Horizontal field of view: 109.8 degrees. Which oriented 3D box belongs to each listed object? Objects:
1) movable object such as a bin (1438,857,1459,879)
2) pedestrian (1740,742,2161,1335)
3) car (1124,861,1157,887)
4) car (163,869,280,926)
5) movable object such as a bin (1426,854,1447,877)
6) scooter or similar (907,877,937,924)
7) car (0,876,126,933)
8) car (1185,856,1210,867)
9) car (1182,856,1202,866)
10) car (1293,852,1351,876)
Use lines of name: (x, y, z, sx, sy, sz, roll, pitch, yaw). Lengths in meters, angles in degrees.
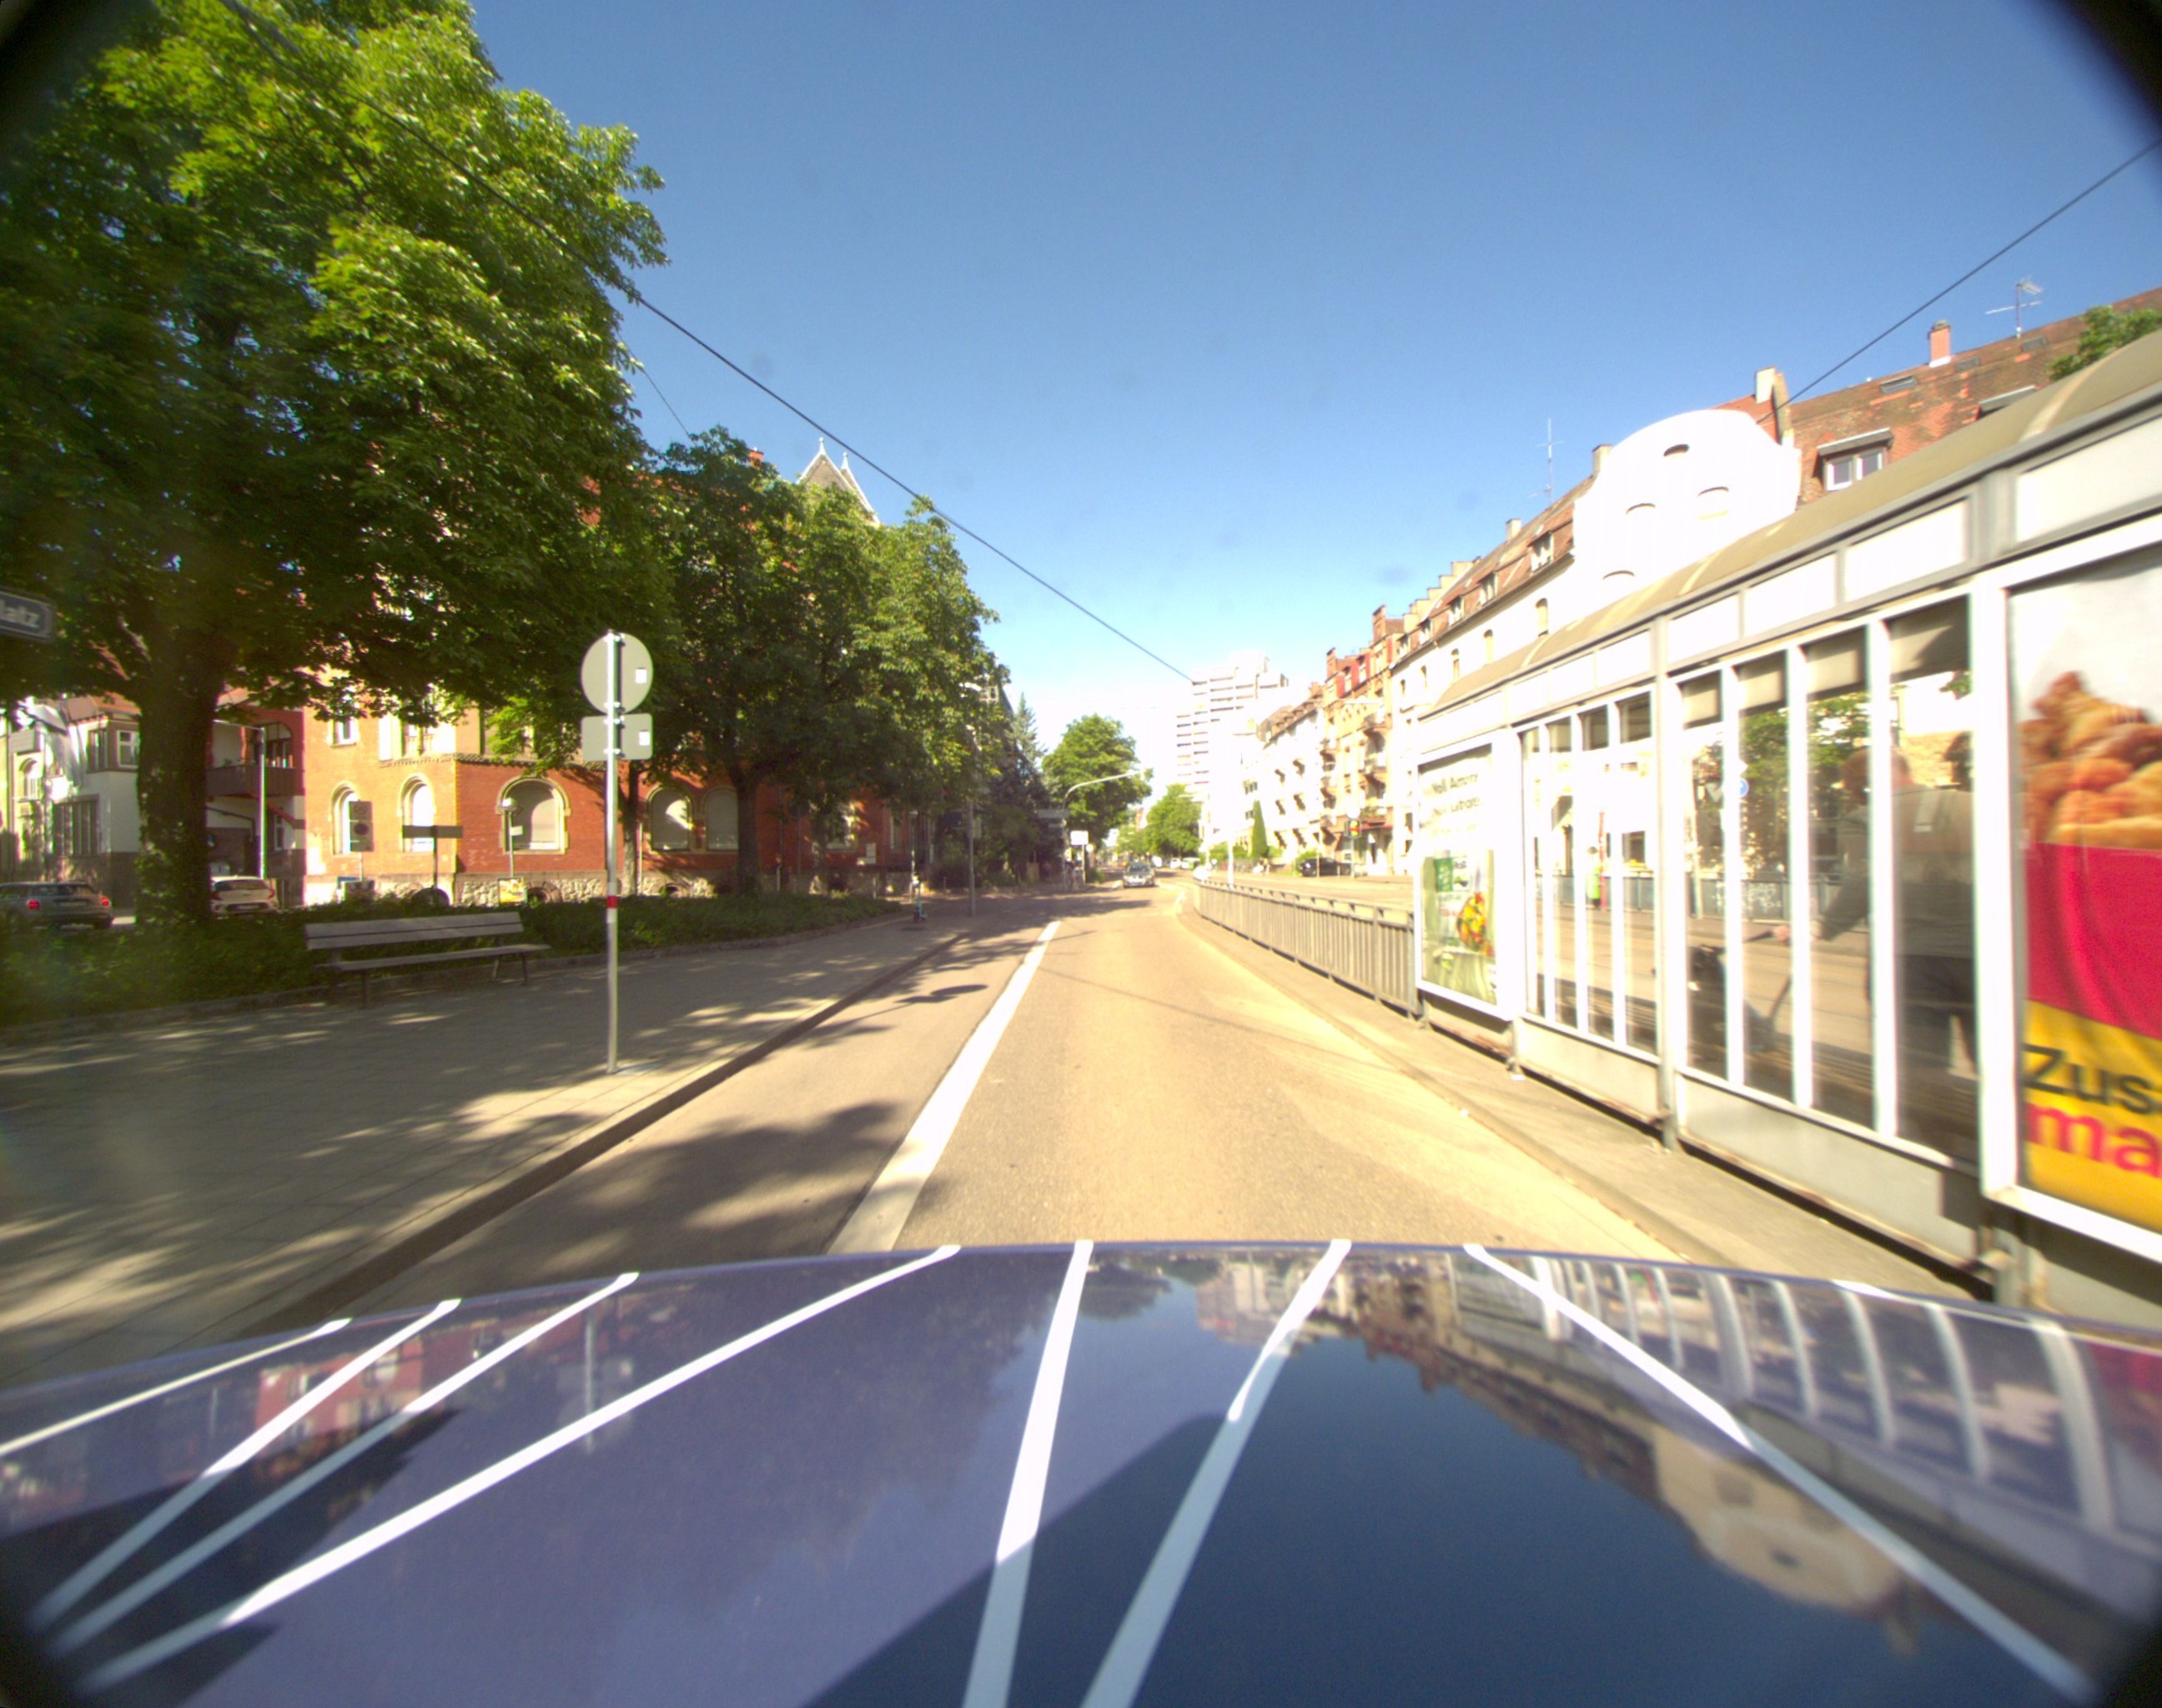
movable object such as a bin: (21.860, 0.825, 45.204, 0.878, 1.301, 0.748, -2, 0, -5)
pedestrian: (3.297, 0.589, 2.859, 0.773, 1.861, 0.895, -3, 0, 3)
car: (3.450, 1.138, 44.708, 1.725, 1.390, 3.613, -2, 0, 1)
car: (-28.607, 1.441, 25.275, 3.794, 1.707, 1.638, -2, 0, 27)
movable object such as a bin: (21.564, 0.694, 46.117, 0.878, 1.301, 0.748, -2, 0, -5)
scooter or similar: (-4.392, 1.269, 21.008, 0.519, 1.241, 1.276, -1, -2, 2)
car: (-29.248, 1.417, 21.506, 3.540, 1.449, 1.637, -2, 0, 19)
car: (17.435, 1.127, 113.678, 3.214, 1.411, 1.572, -2, 0, 33)
car: (17.219, 1.107, 117.789, 1.565, 1.411, 3.229, -2, 0, 44)
car: (18.920, 0.760, 59.715, 3.886, 1.580, 1.816, -2, 4, -4)
